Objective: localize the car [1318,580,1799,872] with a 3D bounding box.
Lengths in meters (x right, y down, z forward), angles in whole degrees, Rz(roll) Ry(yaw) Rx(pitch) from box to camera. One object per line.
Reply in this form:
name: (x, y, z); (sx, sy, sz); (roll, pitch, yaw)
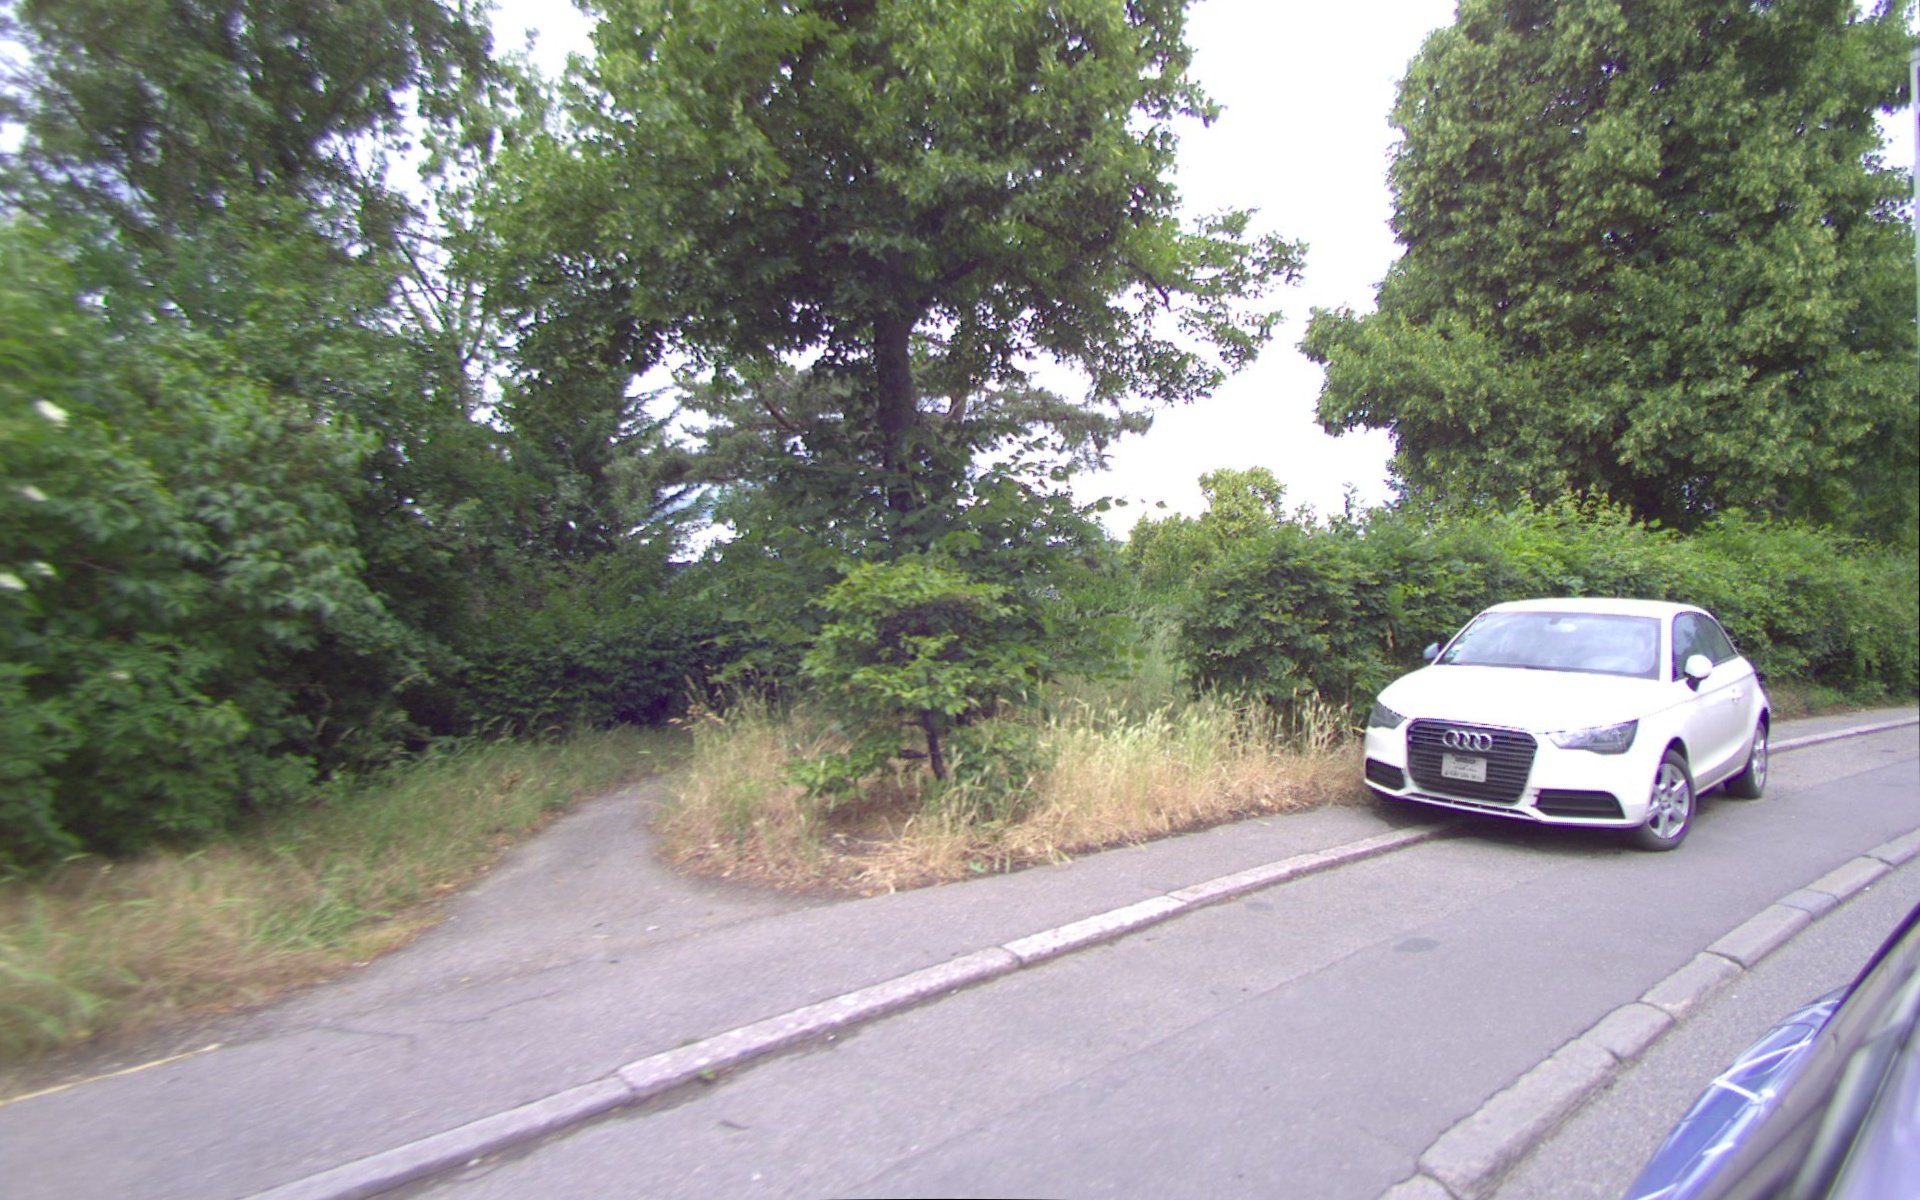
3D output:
car: (4.325, 0.604, 7.058); (3.931, 1.436, 1.780); (-1, 2, -42)
